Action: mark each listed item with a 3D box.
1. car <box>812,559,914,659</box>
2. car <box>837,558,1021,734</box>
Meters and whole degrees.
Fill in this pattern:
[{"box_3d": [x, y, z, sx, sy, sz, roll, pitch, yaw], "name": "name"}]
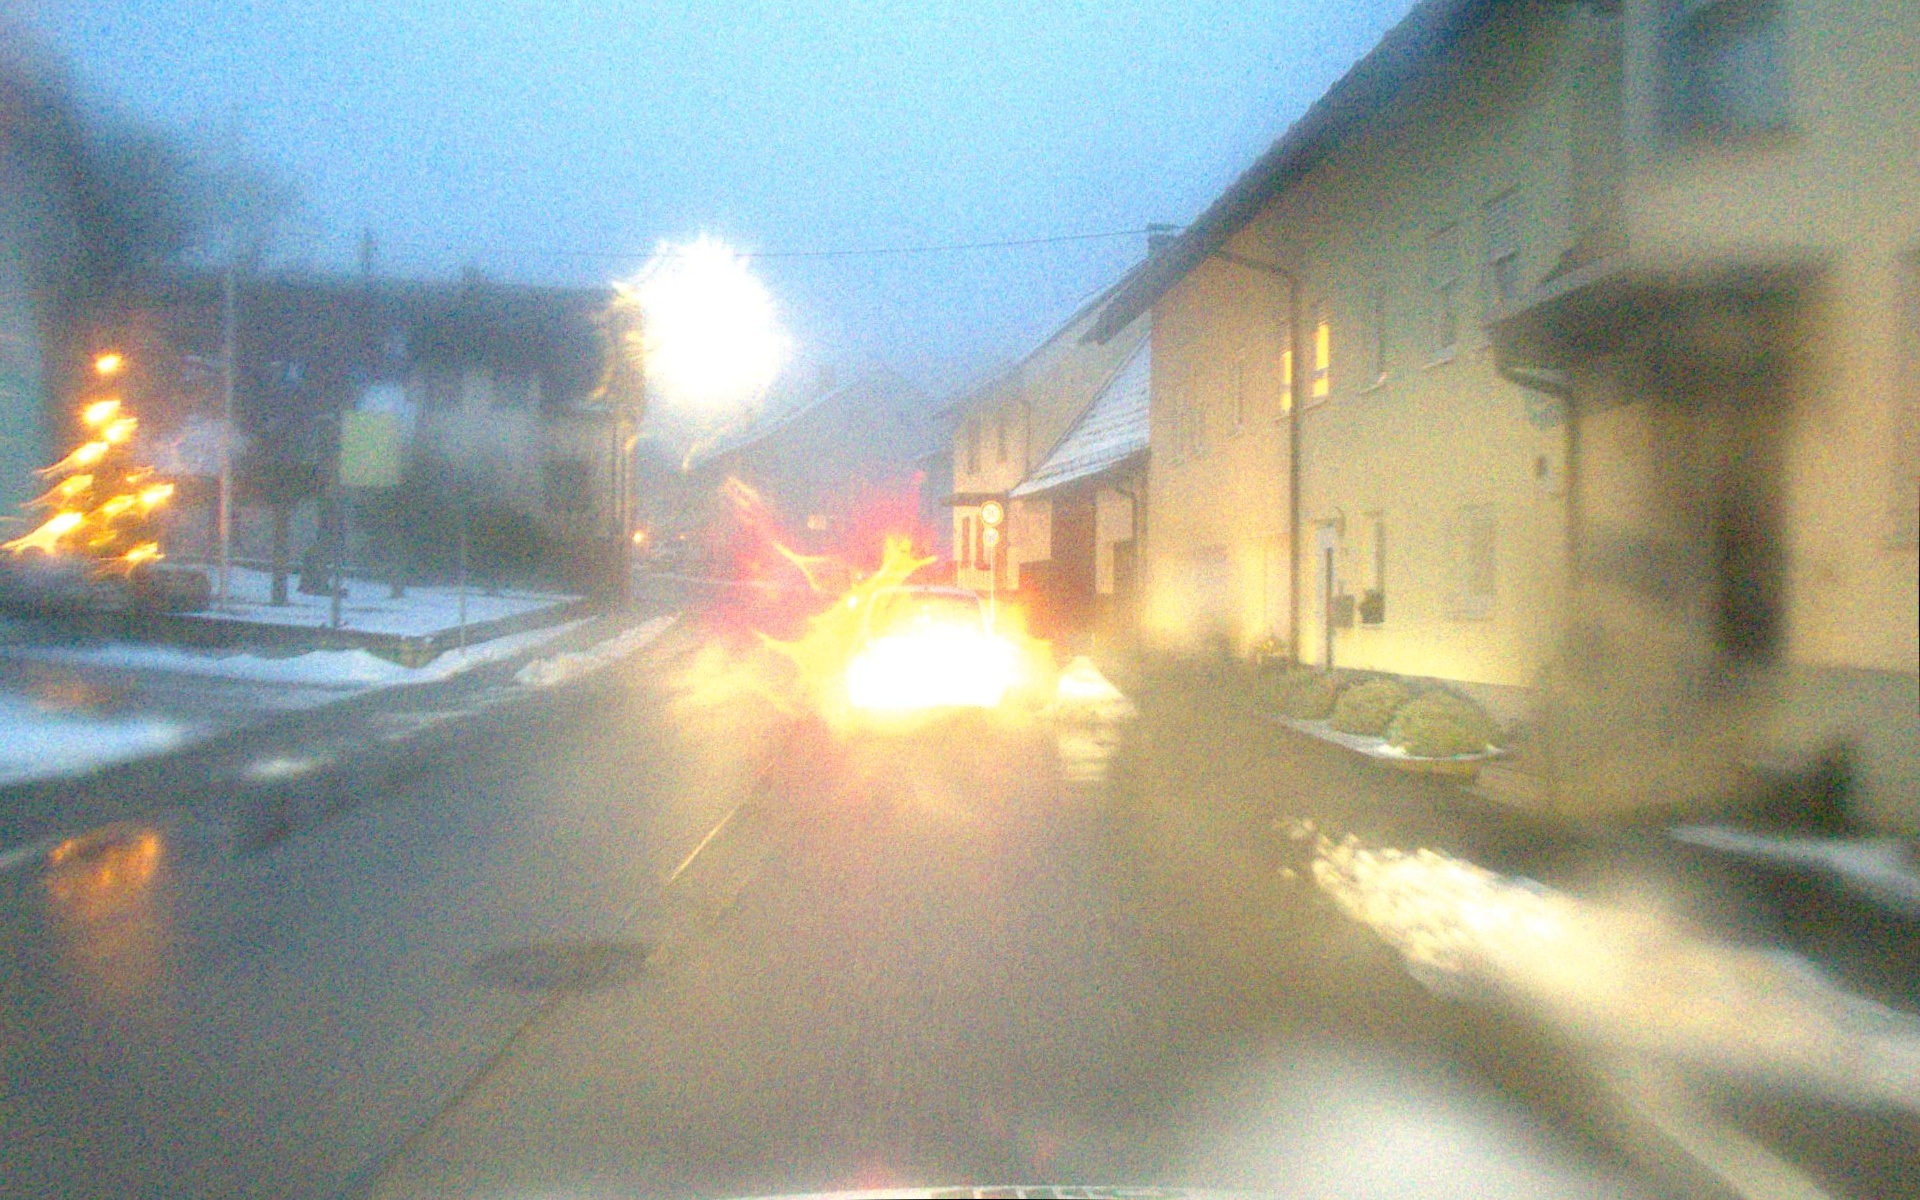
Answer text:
[{"box_3d": [-1.785, 0.157, 29.633, 1.614, 1.624, 3.695, 2, 0, -6], "name": "car"}, {"box_3d": [-0.422, 0.439, 17.494, 1.613, 1.624, 3.695, 2, 0, -6], "name": "car"}]
